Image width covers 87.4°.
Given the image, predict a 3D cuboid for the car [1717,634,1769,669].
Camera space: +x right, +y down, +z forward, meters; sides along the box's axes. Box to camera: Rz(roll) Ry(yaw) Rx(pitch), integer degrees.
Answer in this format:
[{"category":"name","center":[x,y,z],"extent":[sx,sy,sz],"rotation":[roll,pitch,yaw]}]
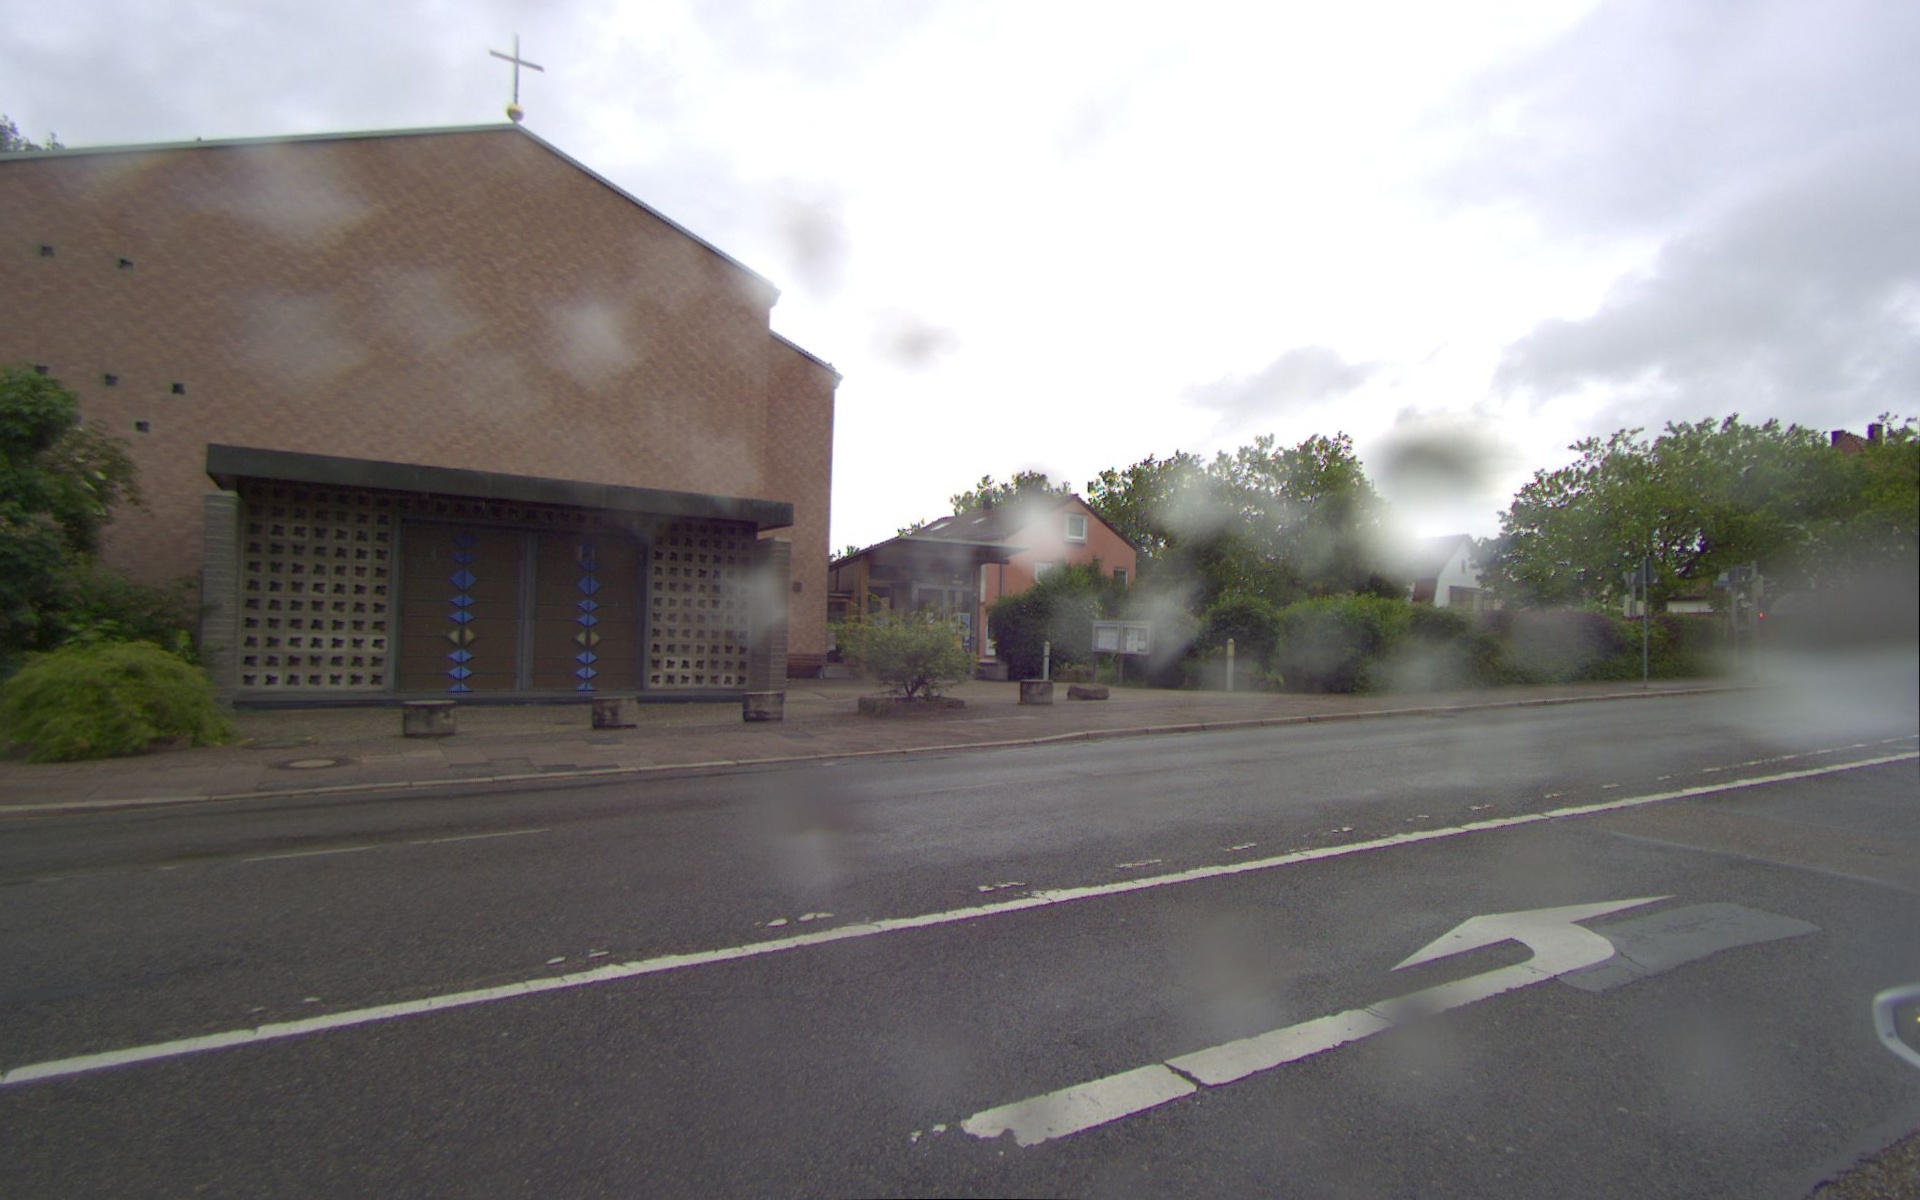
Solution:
[{"category":"car","center":[38.718,2.491,49.693],"extent":[1.969,1.572,3.983],"rotation":[0,-1,38]}]
